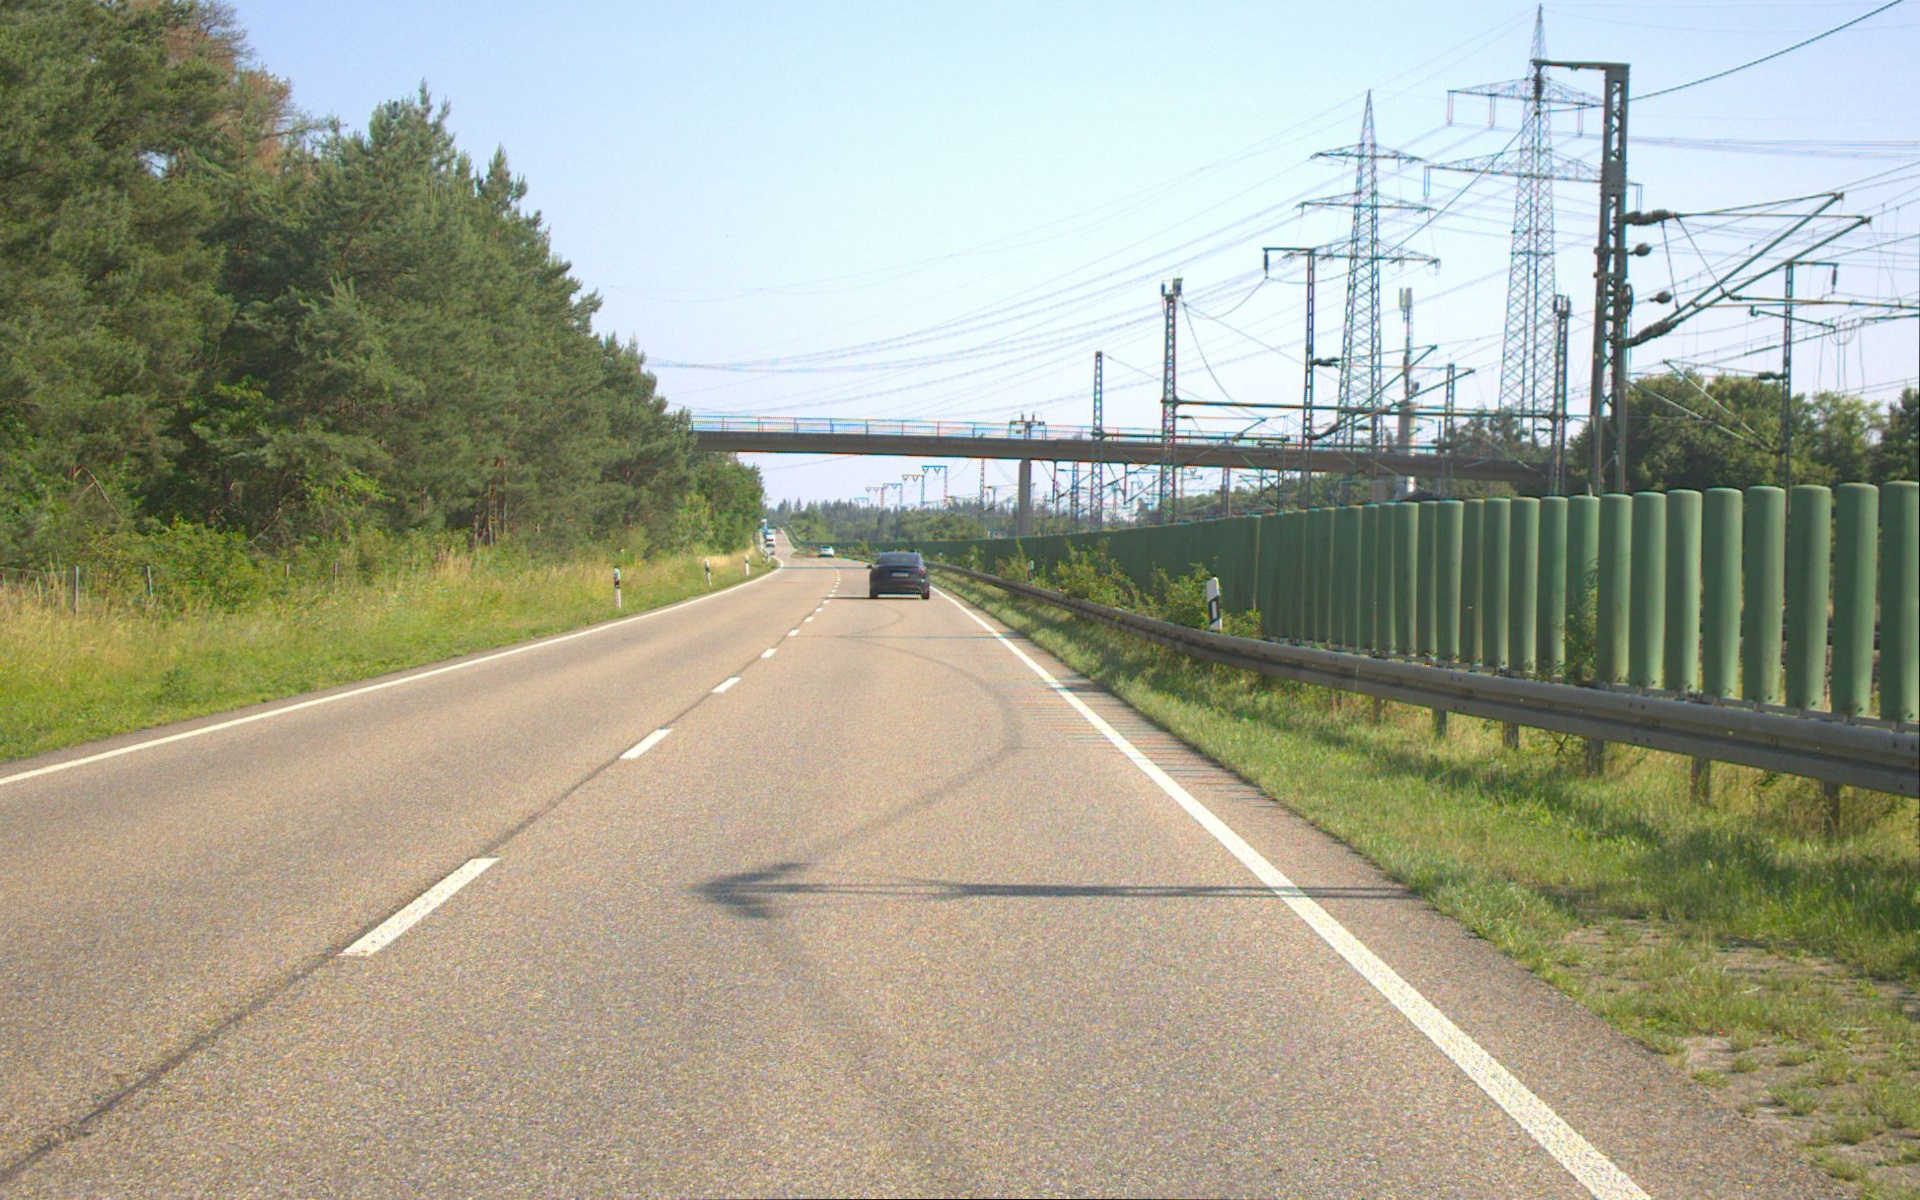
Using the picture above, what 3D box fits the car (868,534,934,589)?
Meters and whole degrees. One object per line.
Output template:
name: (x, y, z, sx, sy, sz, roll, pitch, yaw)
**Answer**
car: (-1.831, -1.196, 105.392, 1.858, 1.636, 4.001, -1, 1, -3)
